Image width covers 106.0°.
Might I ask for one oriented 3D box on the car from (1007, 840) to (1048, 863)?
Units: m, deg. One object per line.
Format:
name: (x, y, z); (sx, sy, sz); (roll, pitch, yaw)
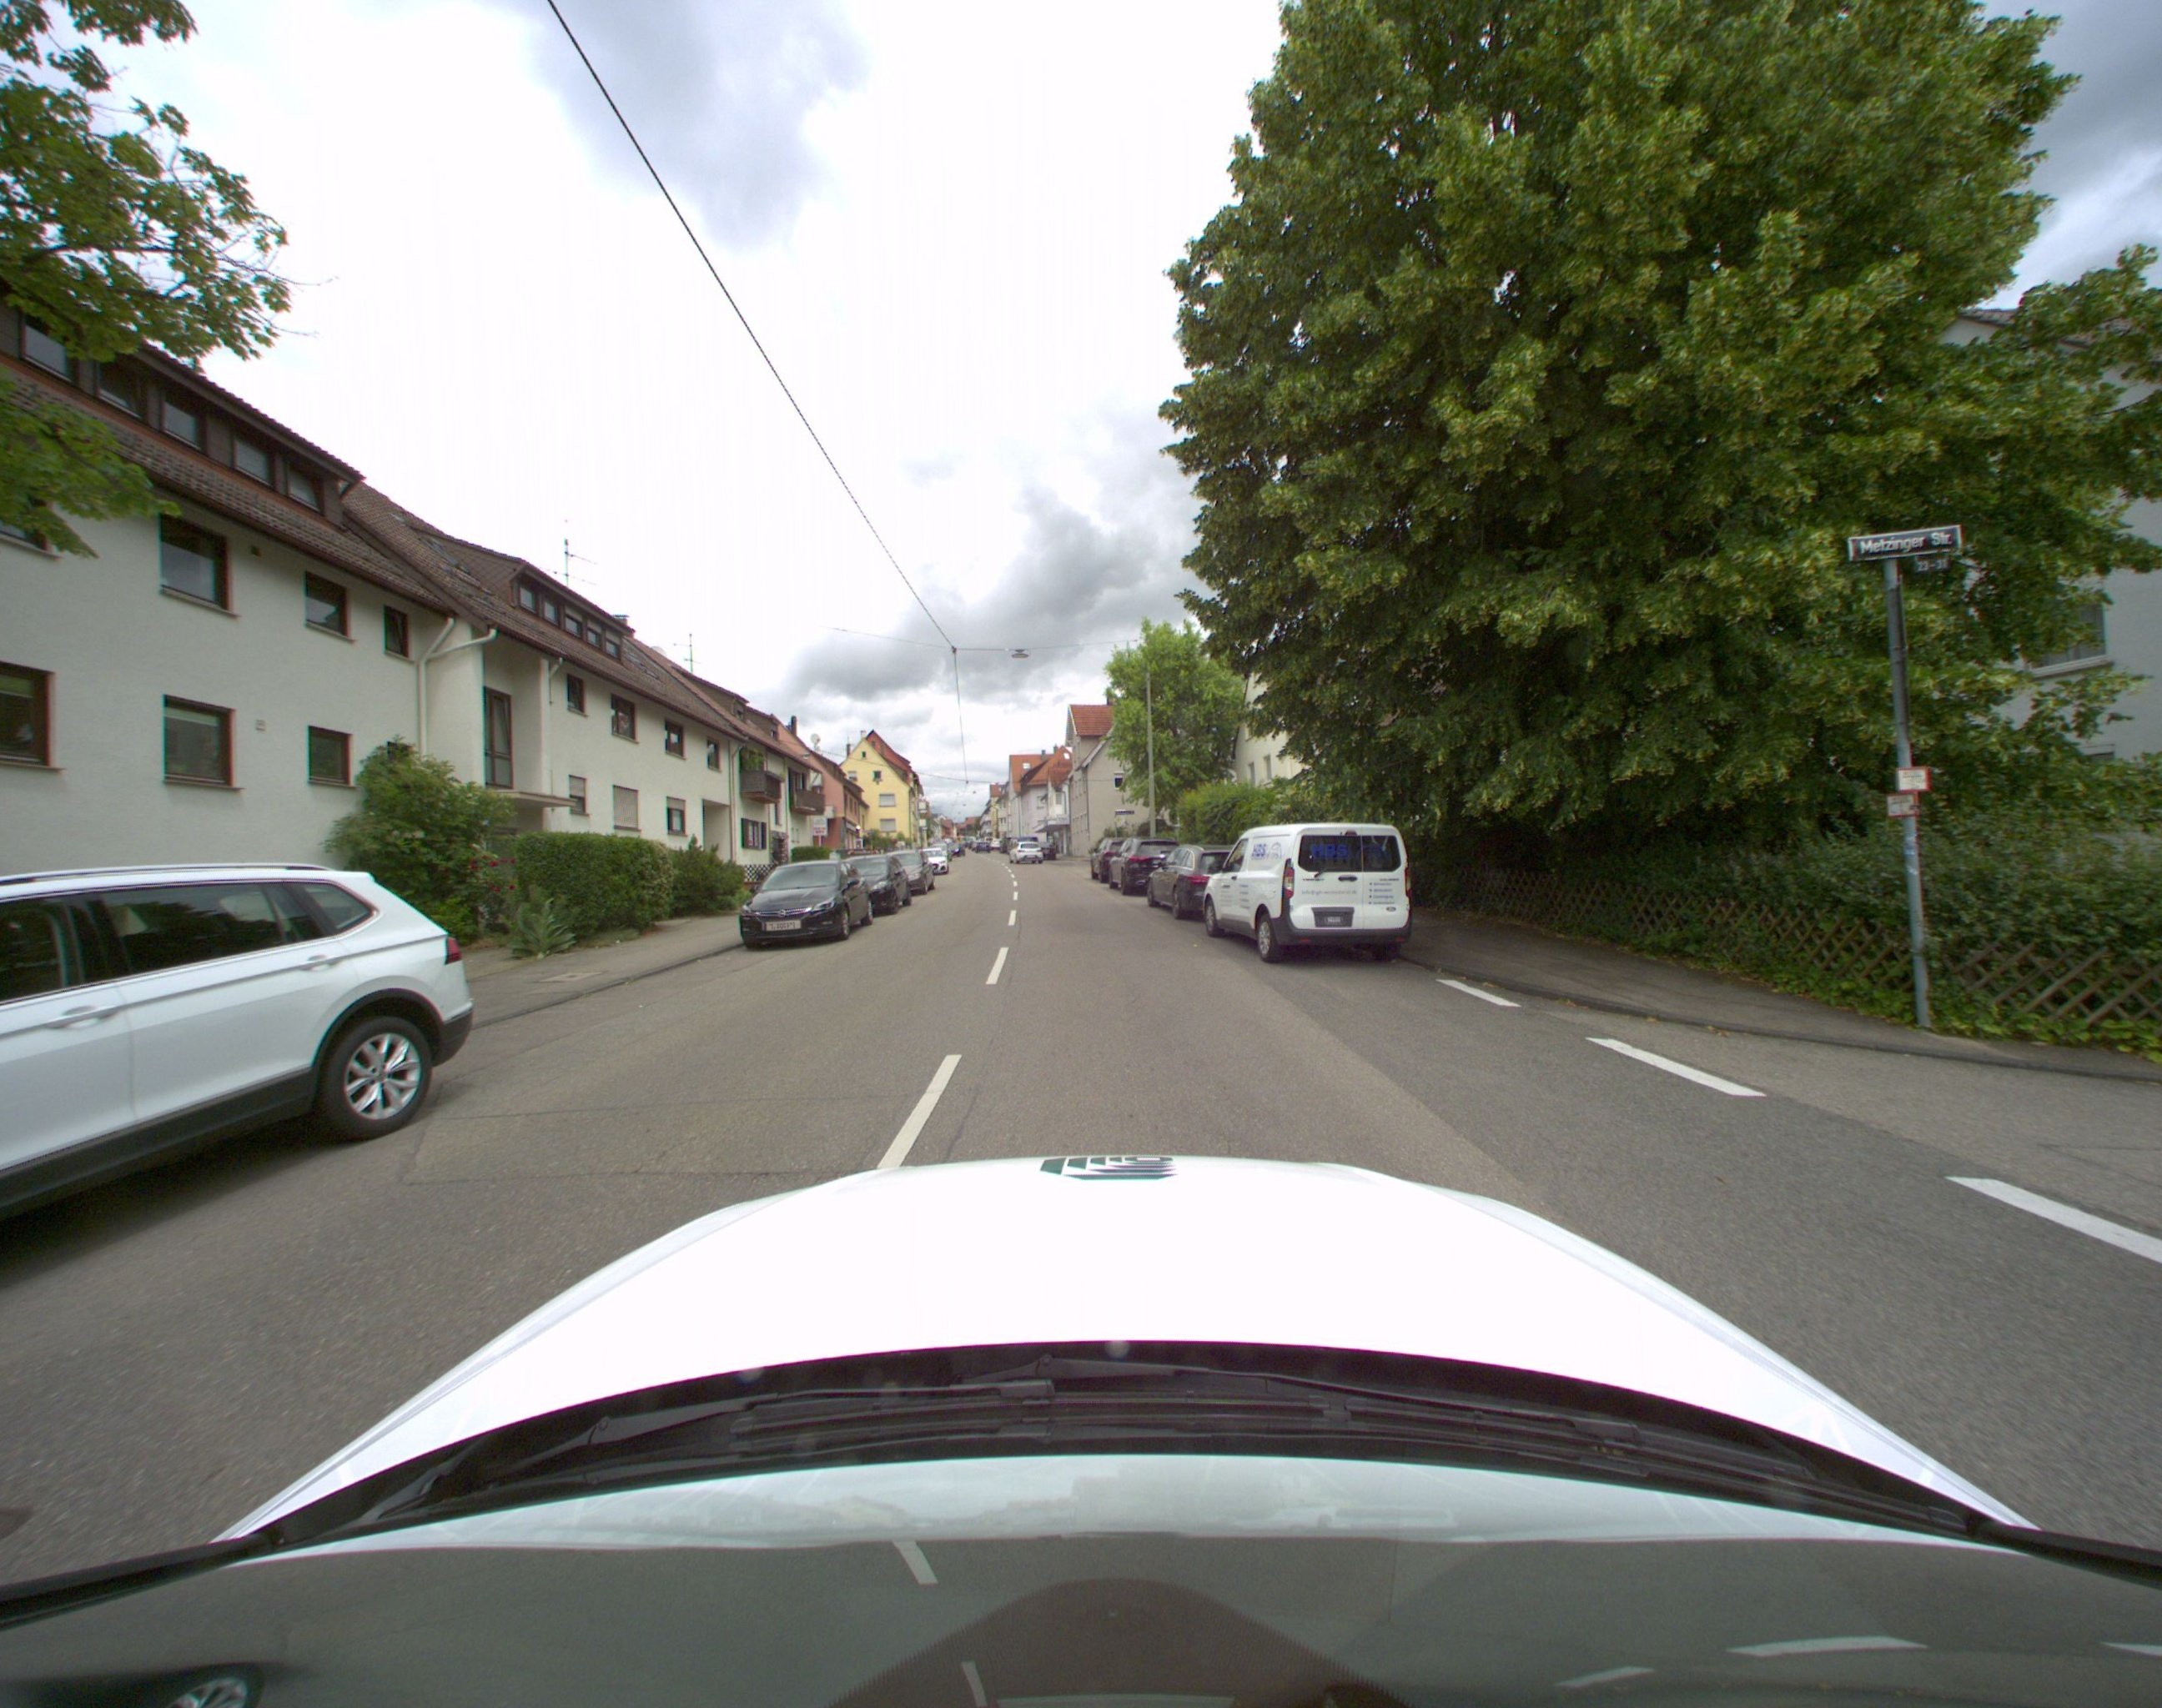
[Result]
car: (-3.572, -0.182, 53.642); (1.944, 1.439, 3.979); (-1, 1, -16)

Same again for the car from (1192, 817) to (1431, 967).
car: (3.065, 0.413, 11.874); (1.836, 1.774, 4.307); (0, 1, -7)

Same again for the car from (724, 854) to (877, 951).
car: (-5.129, 0.794, 15.490); (1.760, 1.438, 4.070); (-4, 1, -6)

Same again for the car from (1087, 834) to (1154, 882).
car: (1.369, 0.113, 29.766); (1.808, 1.615, 4.531); (0, 0, -5)

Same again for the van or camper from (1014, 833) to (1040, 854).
van or camper: (-5.175, -1.018, 77.919); (1.927, 1.925, 4.813); (-1, 1, -11)

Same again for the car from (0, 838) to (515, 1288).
car: (-5.072, 0.851, 3.564); (1.843, 1.714, 4.575); (-4, 0, 0)

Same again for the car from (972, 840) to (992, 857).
car: (-12.362, -0.731, 101.225); (2.153, 2.013, 3.985); (-1, 1, -11)

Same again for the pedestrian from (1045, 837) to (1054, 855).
pedestrian: (-3.450, -0.860, 88.631); (0.752, 2.013, 0.623); (-1, 1, 25)

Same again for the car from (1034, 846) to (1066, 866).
car: (-2.605, 0.140, 66.505); (1.994, 1.517, 4.875); (0, 1, -10)

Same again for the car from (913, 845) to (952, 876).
car: (-7.943, 0.326, 43.926); (1.725, 1.458, 3.889); (-6, 1, -7)

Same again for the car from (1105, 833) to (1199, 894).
car: (1.978, 0.245, 24.072); (1.991, 1.615, 4.531); (0, 0, -5)

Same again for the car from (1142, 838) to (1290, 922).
car: (2.687, 0.471, 17.414); (1.991, 1.478, 4.611); (-2, 0, -5)

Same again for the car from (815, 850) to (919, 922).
car: (-5.316, 0.718, 20.752); (1.760, 1.438, 4.071); (-6, 1, -5)

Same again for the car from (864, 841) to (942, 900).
car: (-5.971, 0.481, 27.841); (1.844, 1.680, 4.779); (-5, 1, -5)

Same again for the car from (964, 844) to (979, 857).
car: (-17.714, -0.603, 131.660); (2.153, 2.013, 3.985); (-1, 1, -11)

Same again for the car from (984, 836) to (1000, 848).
car: (-12.926, -1.759, 118.552); (1.941, 1.693, 3.985); (0, 1, -11)

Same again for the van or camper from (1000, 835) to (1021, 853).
van or camper: (-8.425, -1.151, 96.967); (1.993, 2.065, 5.925); (0, 1, -10)

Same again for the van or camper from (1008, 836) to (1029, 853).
van or camper: (-6.883, -1.019, 89.336); (1.871, 1.828, 4.664); (0, 1, -10)
